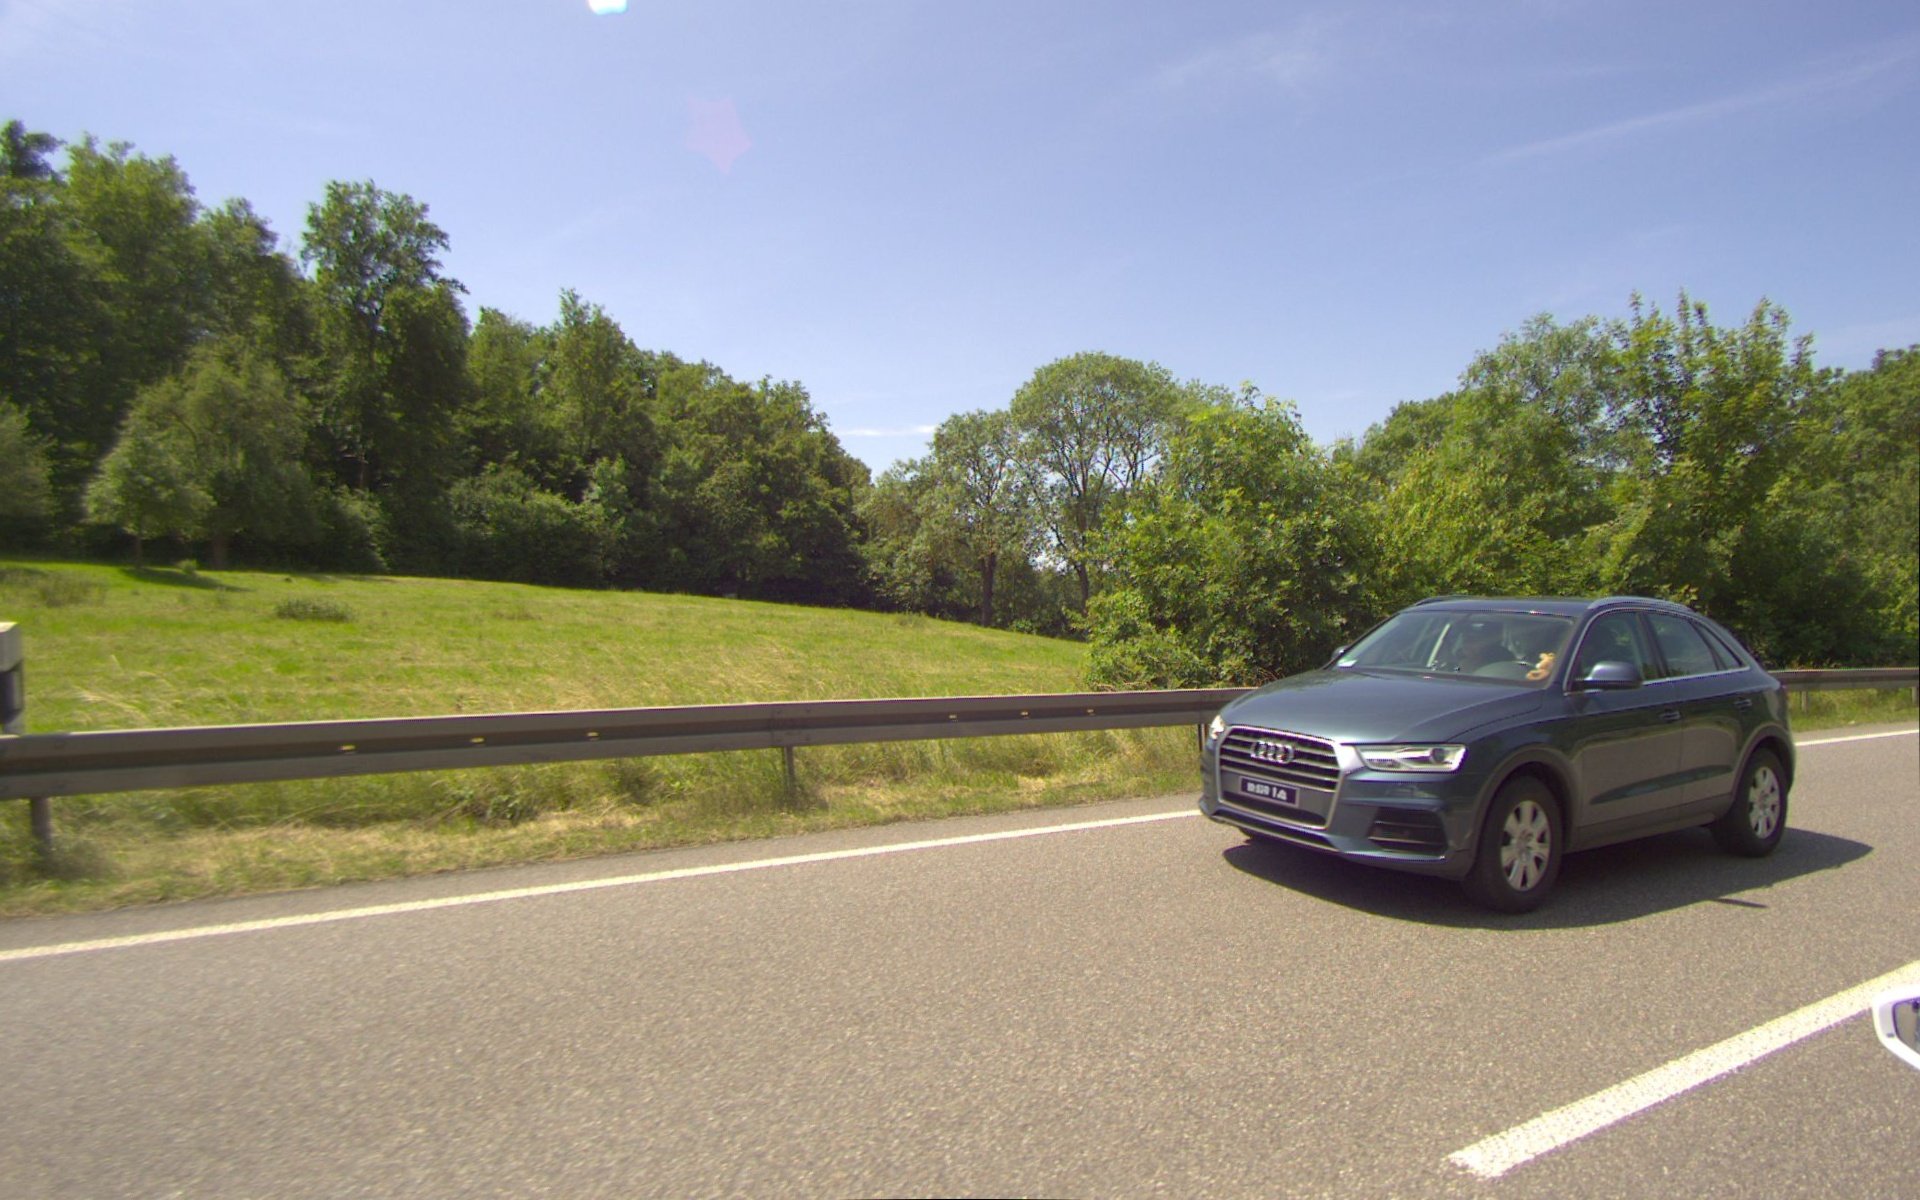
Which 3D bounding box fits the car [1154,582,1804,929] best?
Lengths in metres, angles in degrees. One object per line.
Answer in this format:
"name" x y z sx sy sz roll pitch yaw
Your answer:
"car" 3.299 0.728 6.272 3.845 1.547 1.854 1 0 -31
